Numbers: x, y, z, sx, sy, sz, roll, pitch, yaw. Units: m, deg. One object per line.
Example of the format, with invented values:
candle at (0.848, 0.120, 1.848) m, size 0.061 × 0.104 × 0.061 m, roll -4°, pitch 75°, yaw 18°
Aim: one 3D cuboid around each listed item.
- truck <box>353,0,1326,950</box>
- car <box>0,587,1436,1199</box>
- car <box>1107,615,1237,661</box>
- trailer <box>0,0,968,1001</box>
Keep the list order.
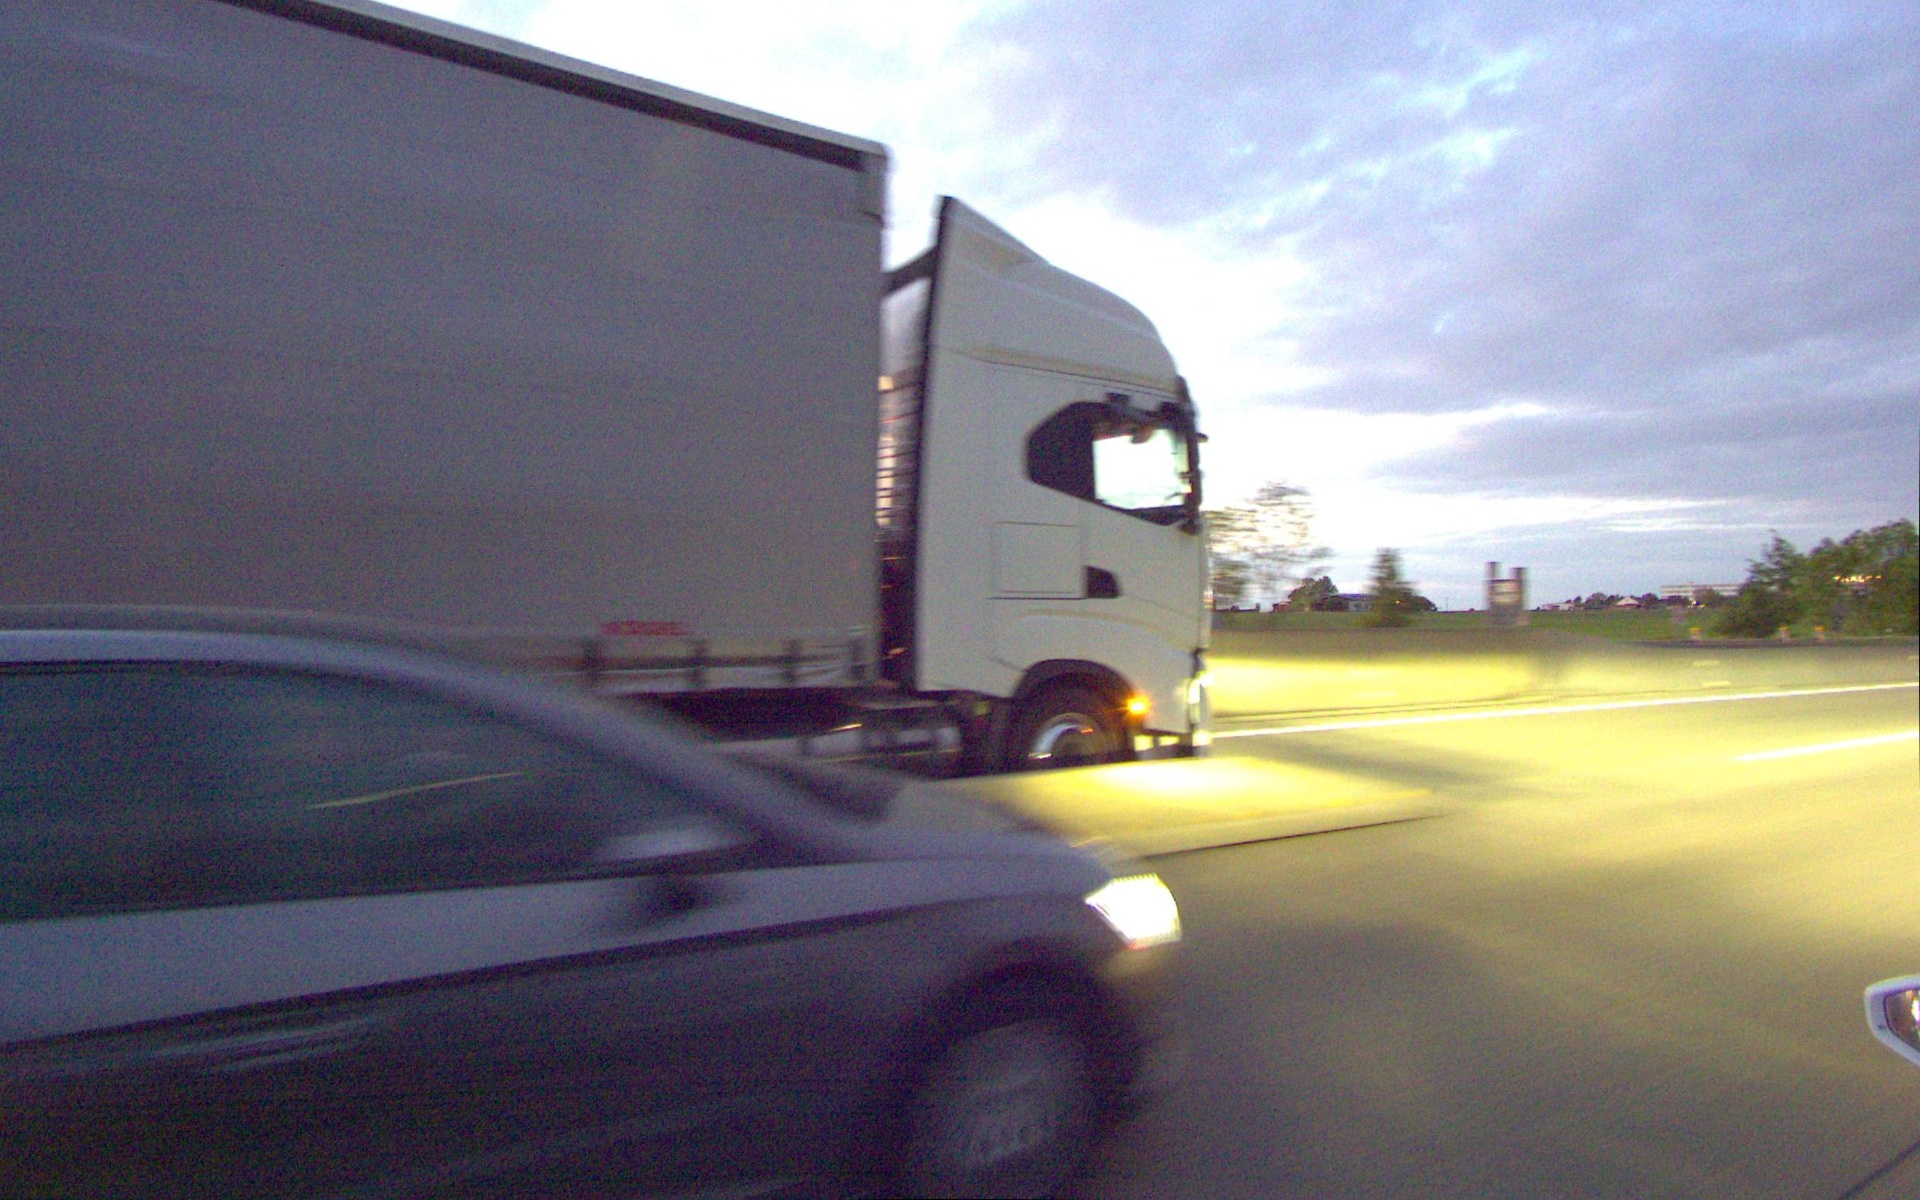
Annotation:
truck at (-0.617, -0.510, 7.007) m, size 6.031 × 4.147 × 2.764 m, roll 1°, pitch -1°, yaw -30°
car at (-1.088, 0.748, 2.480) m, size 4.669 × 1.491 × 1.715 m, roll 1°, pitch 0°, yaw -30°
car at (6.140, 1.085, 29.004) m, size 3.567 × 1.206 × 1.529 m, roll 1°, pitch 0°, yaw -30°
trailer at (-6.842, -0.658, 3.329) m, size 14.355 × 4.139 × 2.781 m, roll 1°, pitch -1°, yaw -31°
